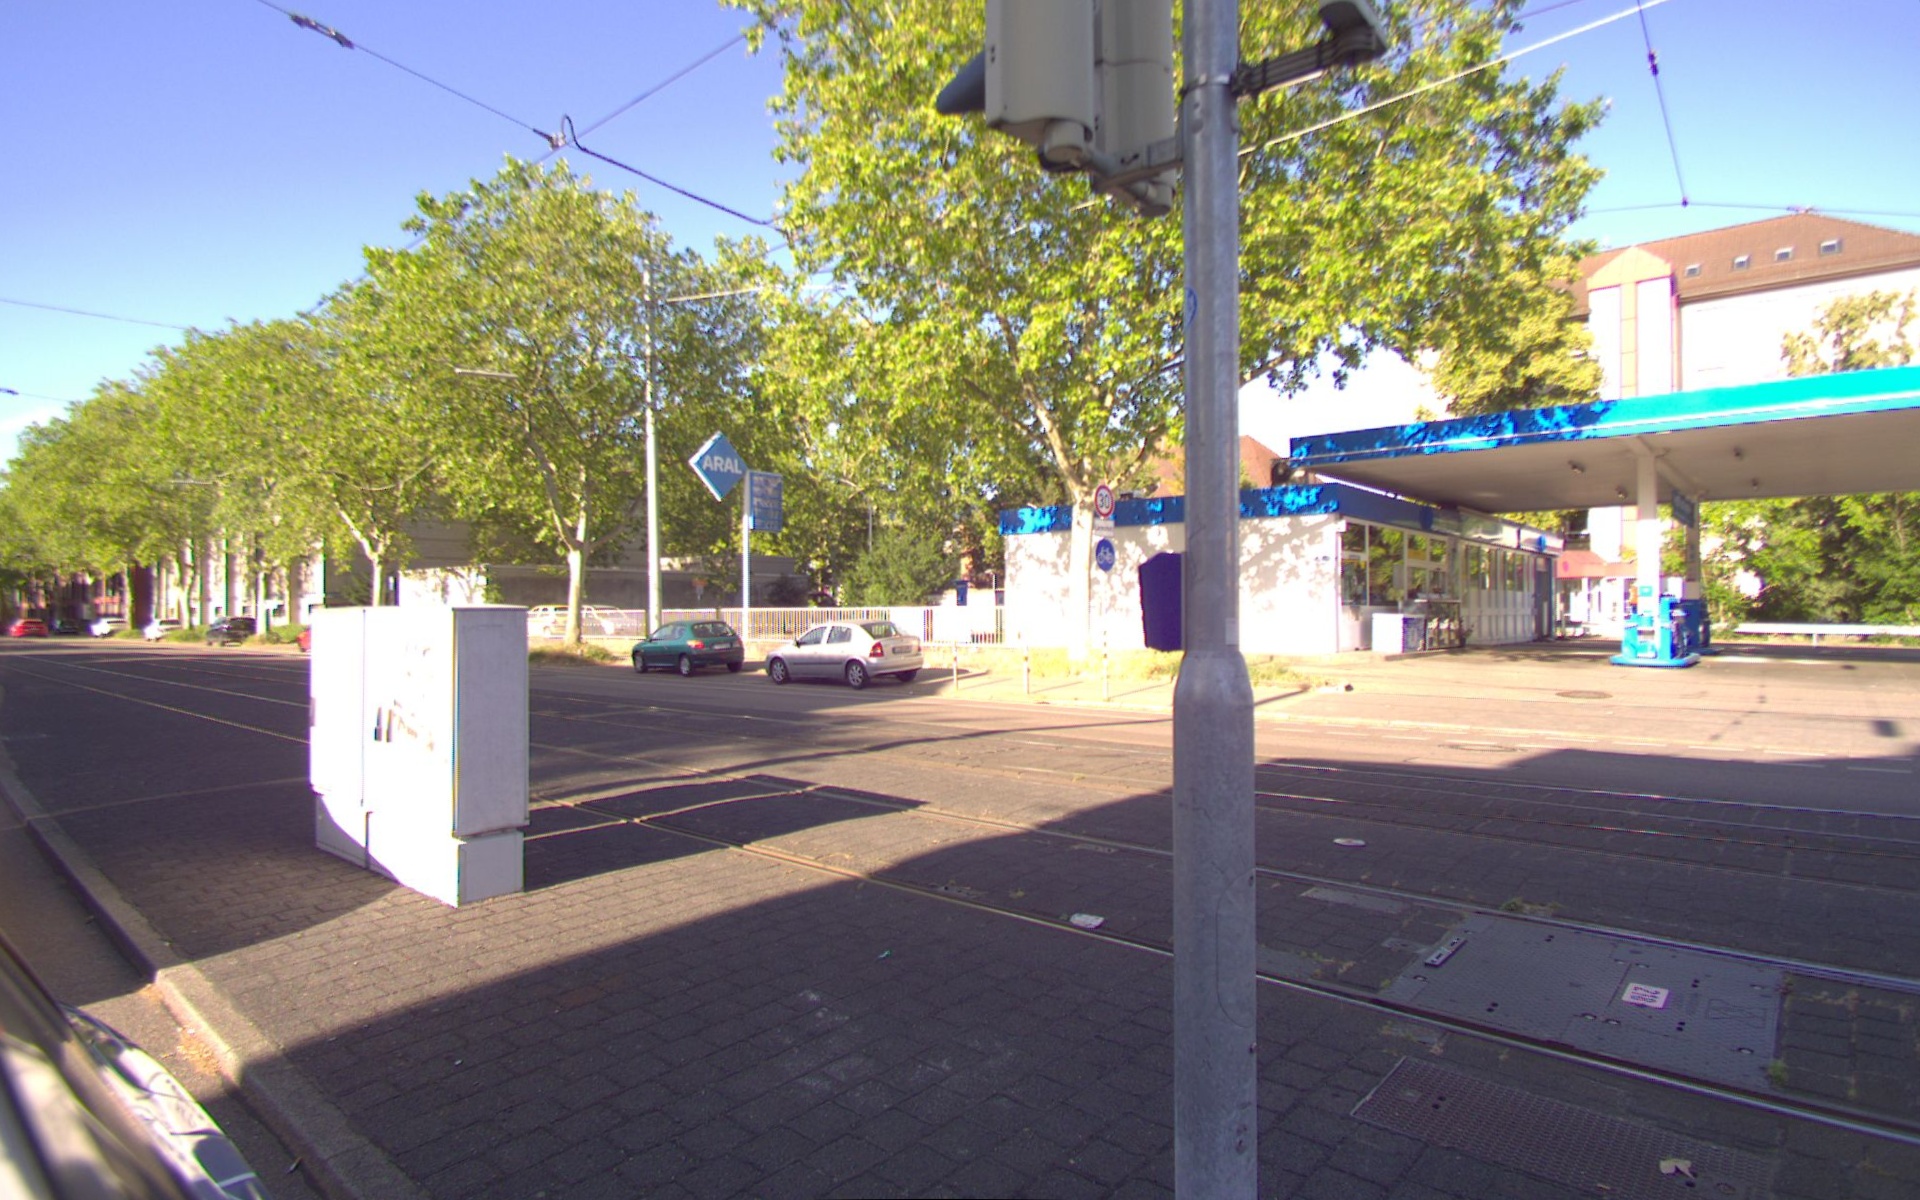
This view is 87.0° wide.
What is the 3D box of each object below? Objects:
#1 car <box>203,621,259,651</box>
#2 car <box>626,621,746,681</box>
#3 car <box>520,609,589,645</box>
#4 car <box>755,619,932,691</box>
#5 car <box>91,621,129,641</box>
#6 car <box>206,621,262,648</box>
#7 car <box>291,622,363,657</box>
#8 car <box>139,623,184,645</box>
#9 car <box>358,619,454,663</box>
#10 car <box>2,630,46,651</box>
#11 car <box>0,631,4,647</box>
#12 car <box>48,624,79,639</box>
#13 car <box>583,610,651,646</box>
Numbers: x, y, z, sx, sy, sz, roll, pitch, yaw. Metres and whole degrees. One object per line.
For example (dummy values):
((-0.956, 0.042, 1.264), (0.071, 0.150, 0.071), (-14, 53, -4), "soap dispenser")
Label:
((-40.729, 1.983, 56.537), (3.998, 1.587, 1.678), (-1, -2, 41), "car")
((-7.287, 1.303, 26.789), (3.253, 1.431, 1.526), (-1, 0, 41), "car")
((-16.852, 1.098, 42.001), (3.151, 1.431, 1.525), (-1, 0, 44), "car")
((-2.664, 1.158, 22.640), (3.998, 1.431, 1.709), (-1, 0, 41), "car")
((-66.805, 2.418, 79.550), (3.998, 1.569, 1.678), (-1, -2, 41), "car")
((-40.594, 1.890, 56.578), (3.998, 1.420, 1.678), (-1, -2, 41), "car")
((-28.912, 1.764, 46.199), (3.998, 1.480, 1.678), (0, -1, 41), "car")
((-53.804, 2.293, 68.202), (3.998, 1.420, 1.678), (-1, -2, 41), "car")
((-22.017, 1.572, 40.160), (4.431, 1.534, 1.731), (-1, 3, 40), "car")
((-71.739, 3.090, 77.534), (4.761, 1.534, 1.887), (-1, -2, 40), "car")
((-89.323, 3.395, 92.890), (3.998, 1.430, 1.678), (-1, -11, 41), "car")
((-85.176, 2.977, 96.167), (3.998, 1.420, 1.678), (-1, -2, 41), "car")
((-14.771, 1.177, 43.546), (3.151, 1.431, 1.525), (-1, 0, 44), "car")
